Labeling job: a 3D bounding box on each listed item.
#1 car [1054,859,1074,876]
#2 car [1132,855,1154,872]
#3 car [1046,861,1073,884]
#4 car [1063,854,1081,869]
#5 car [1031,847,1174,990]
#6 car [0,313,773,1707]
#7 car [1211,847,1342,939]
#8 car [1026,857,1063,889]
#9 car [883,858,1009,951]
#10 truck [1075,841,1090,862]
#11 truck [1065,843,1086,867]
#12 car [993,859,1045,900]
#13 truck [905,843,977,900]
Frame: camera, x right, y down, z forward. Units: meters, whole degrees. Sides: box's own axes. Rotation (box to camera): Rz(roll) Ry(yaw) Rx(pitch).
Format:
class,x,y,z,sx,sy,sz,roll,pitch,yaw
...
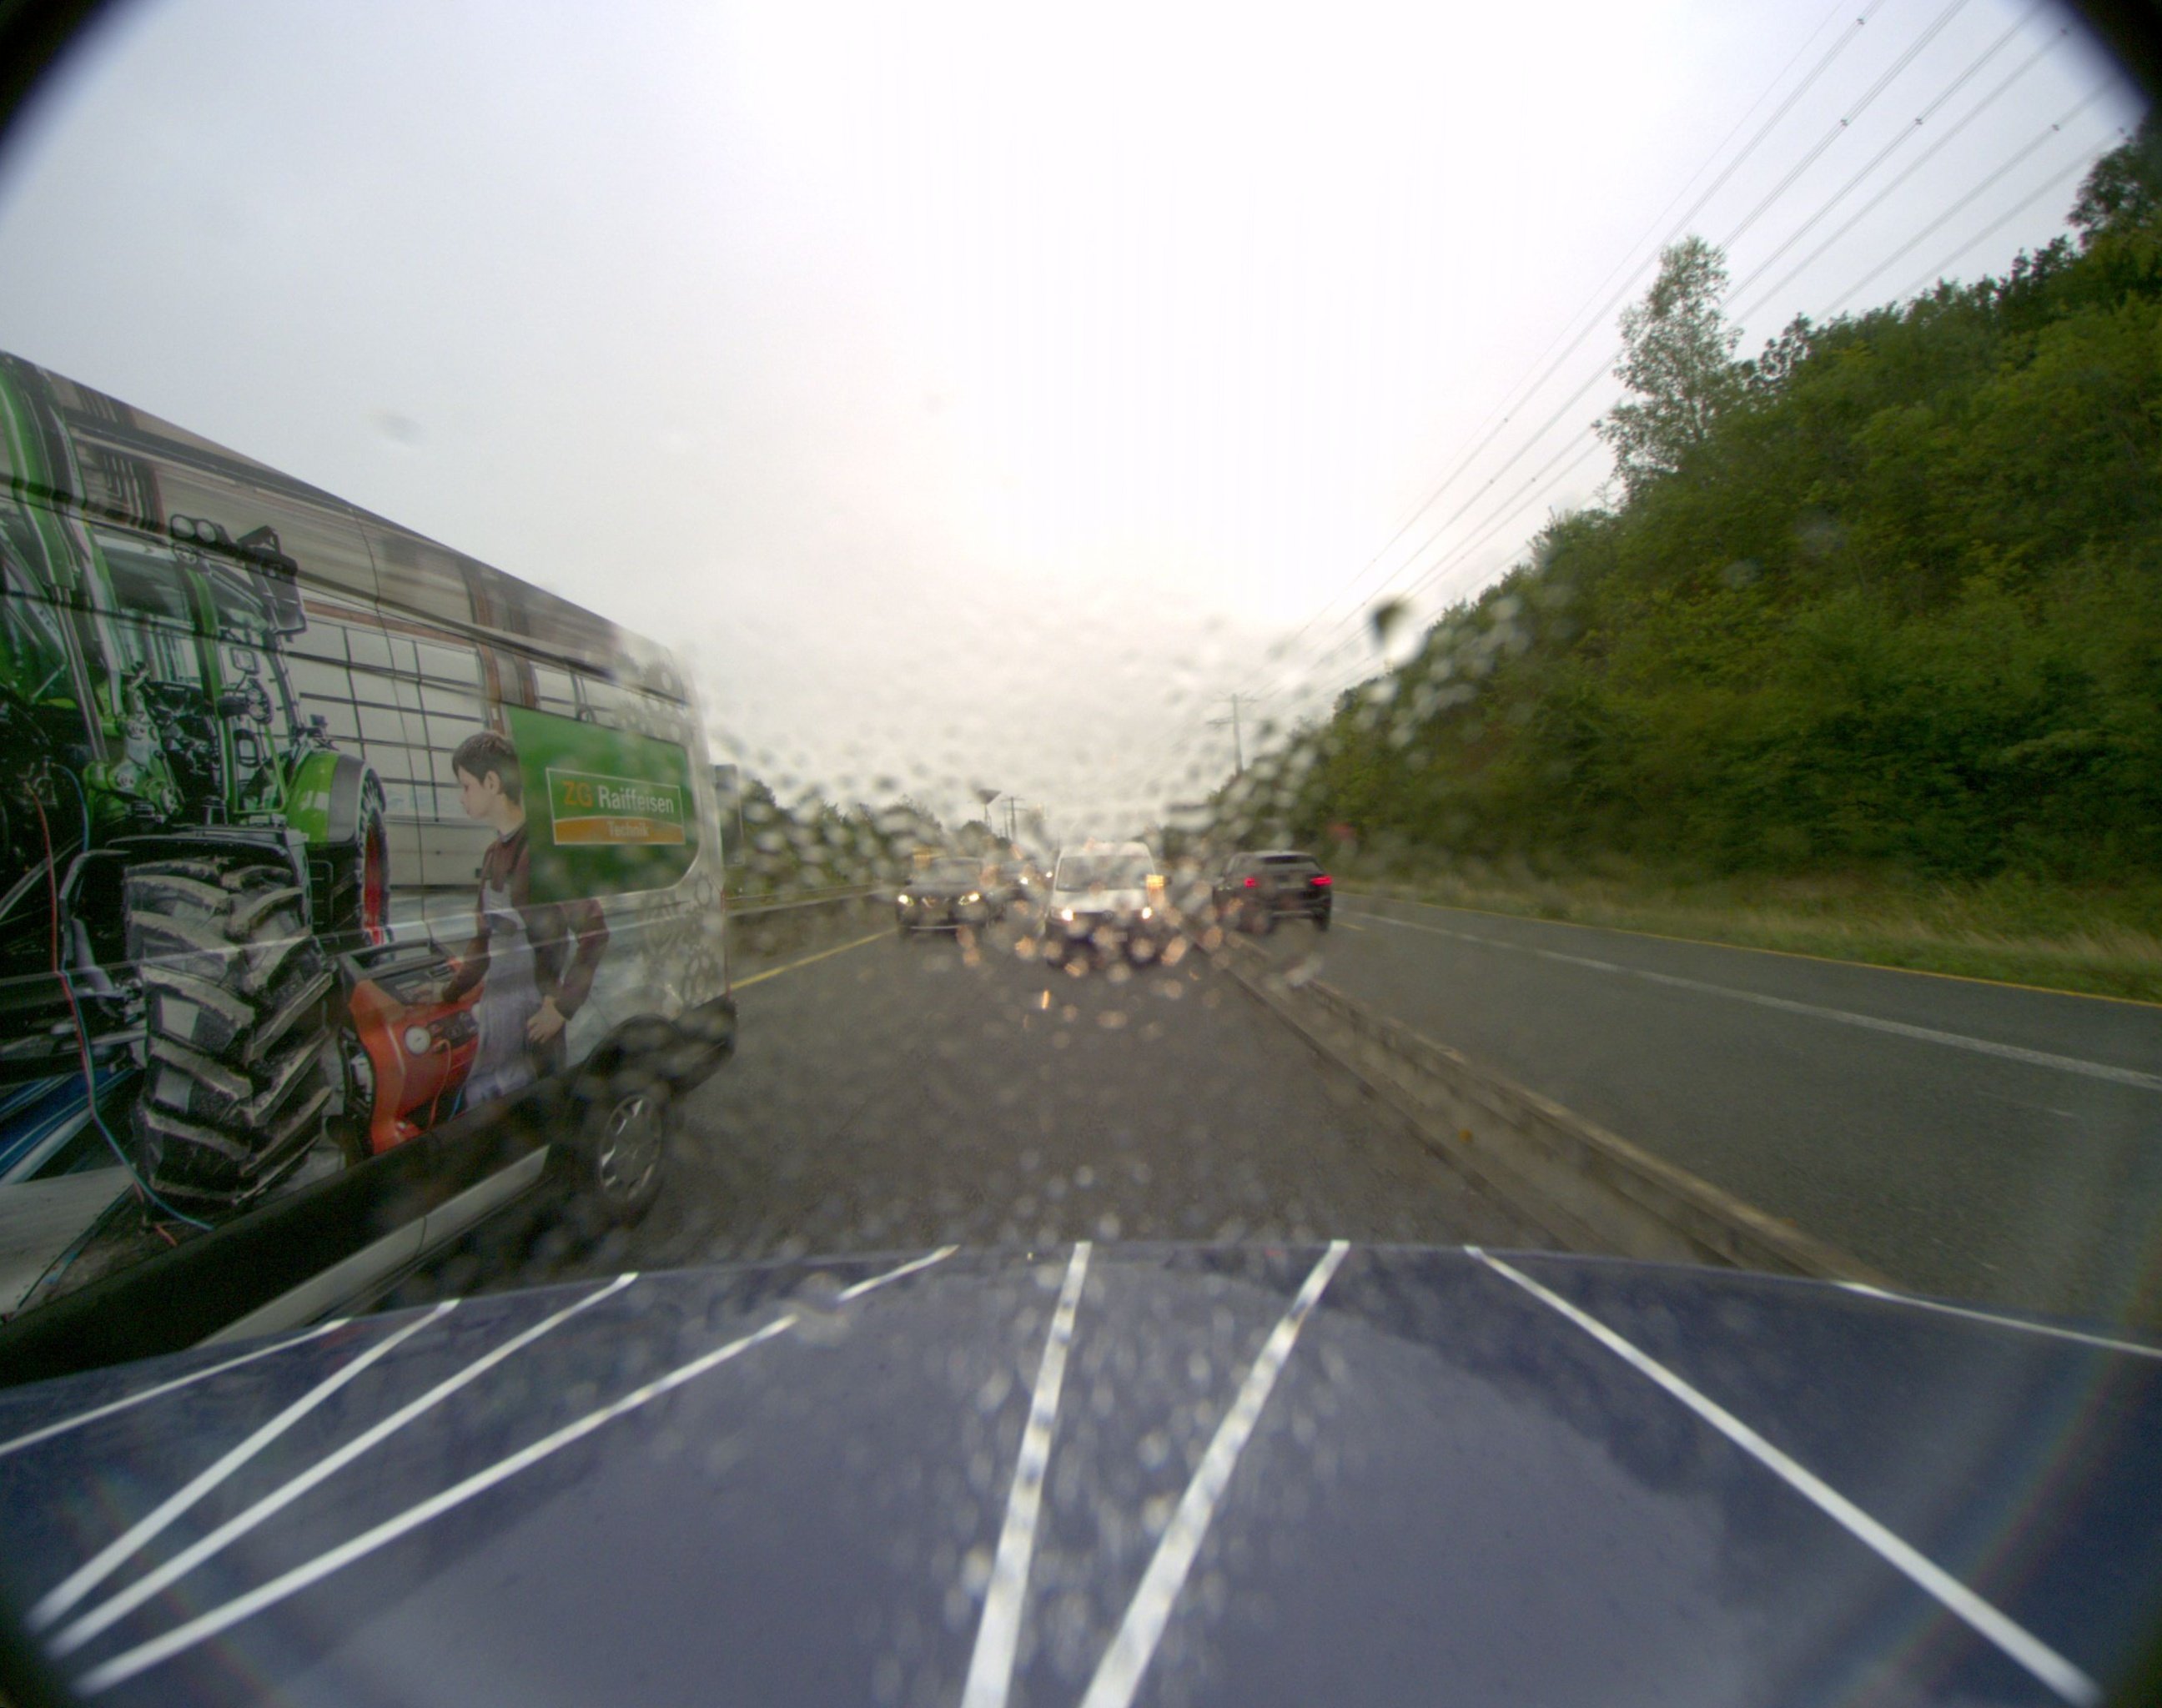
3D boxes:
class,x,y,z,sx,sy,sz,roll,pitch,yaw
car,-1.578,1.239,72.592,1.784,1.482,4.123,-2,0,0
car,5.856,0.871,72.493,1.799,1.546,4.000,-2,0,1
car,-1.501,1.332,55.409,1.784,1.482,4.123,-2,0,0
car,-0.970,0.804,83.887,1.784,1.482,4.123,-2,0,0
car,0.294,0.815,12.106,1.784,1.775,4.697,-2,0,0
car,-2.982,0.389,1.331,2.149,2.660,6.117,-2,0,2
car,3.933,0.703,15.959,1.814,1.623,4.118,-2,0,3
car,-1.998,1.023,42.637,1.784,1.589,4.123,-2,0,0
car,-2.797,0.982,16.864,1.894,1.665,4.640,-2,0,0
truck,0.365,-0.419,148.283,2.619,3.868,9.575,-2,0,0
truck,-0.725,0.145,113.474,2.619,3.404,9.576,-2,0,2
car,-2.510,0.997,31.715,1.784,1.482,4.123,-2,0,0
truck,-9.294,1.040,51.578,2.619,3.404,9.576,-2,0,3
